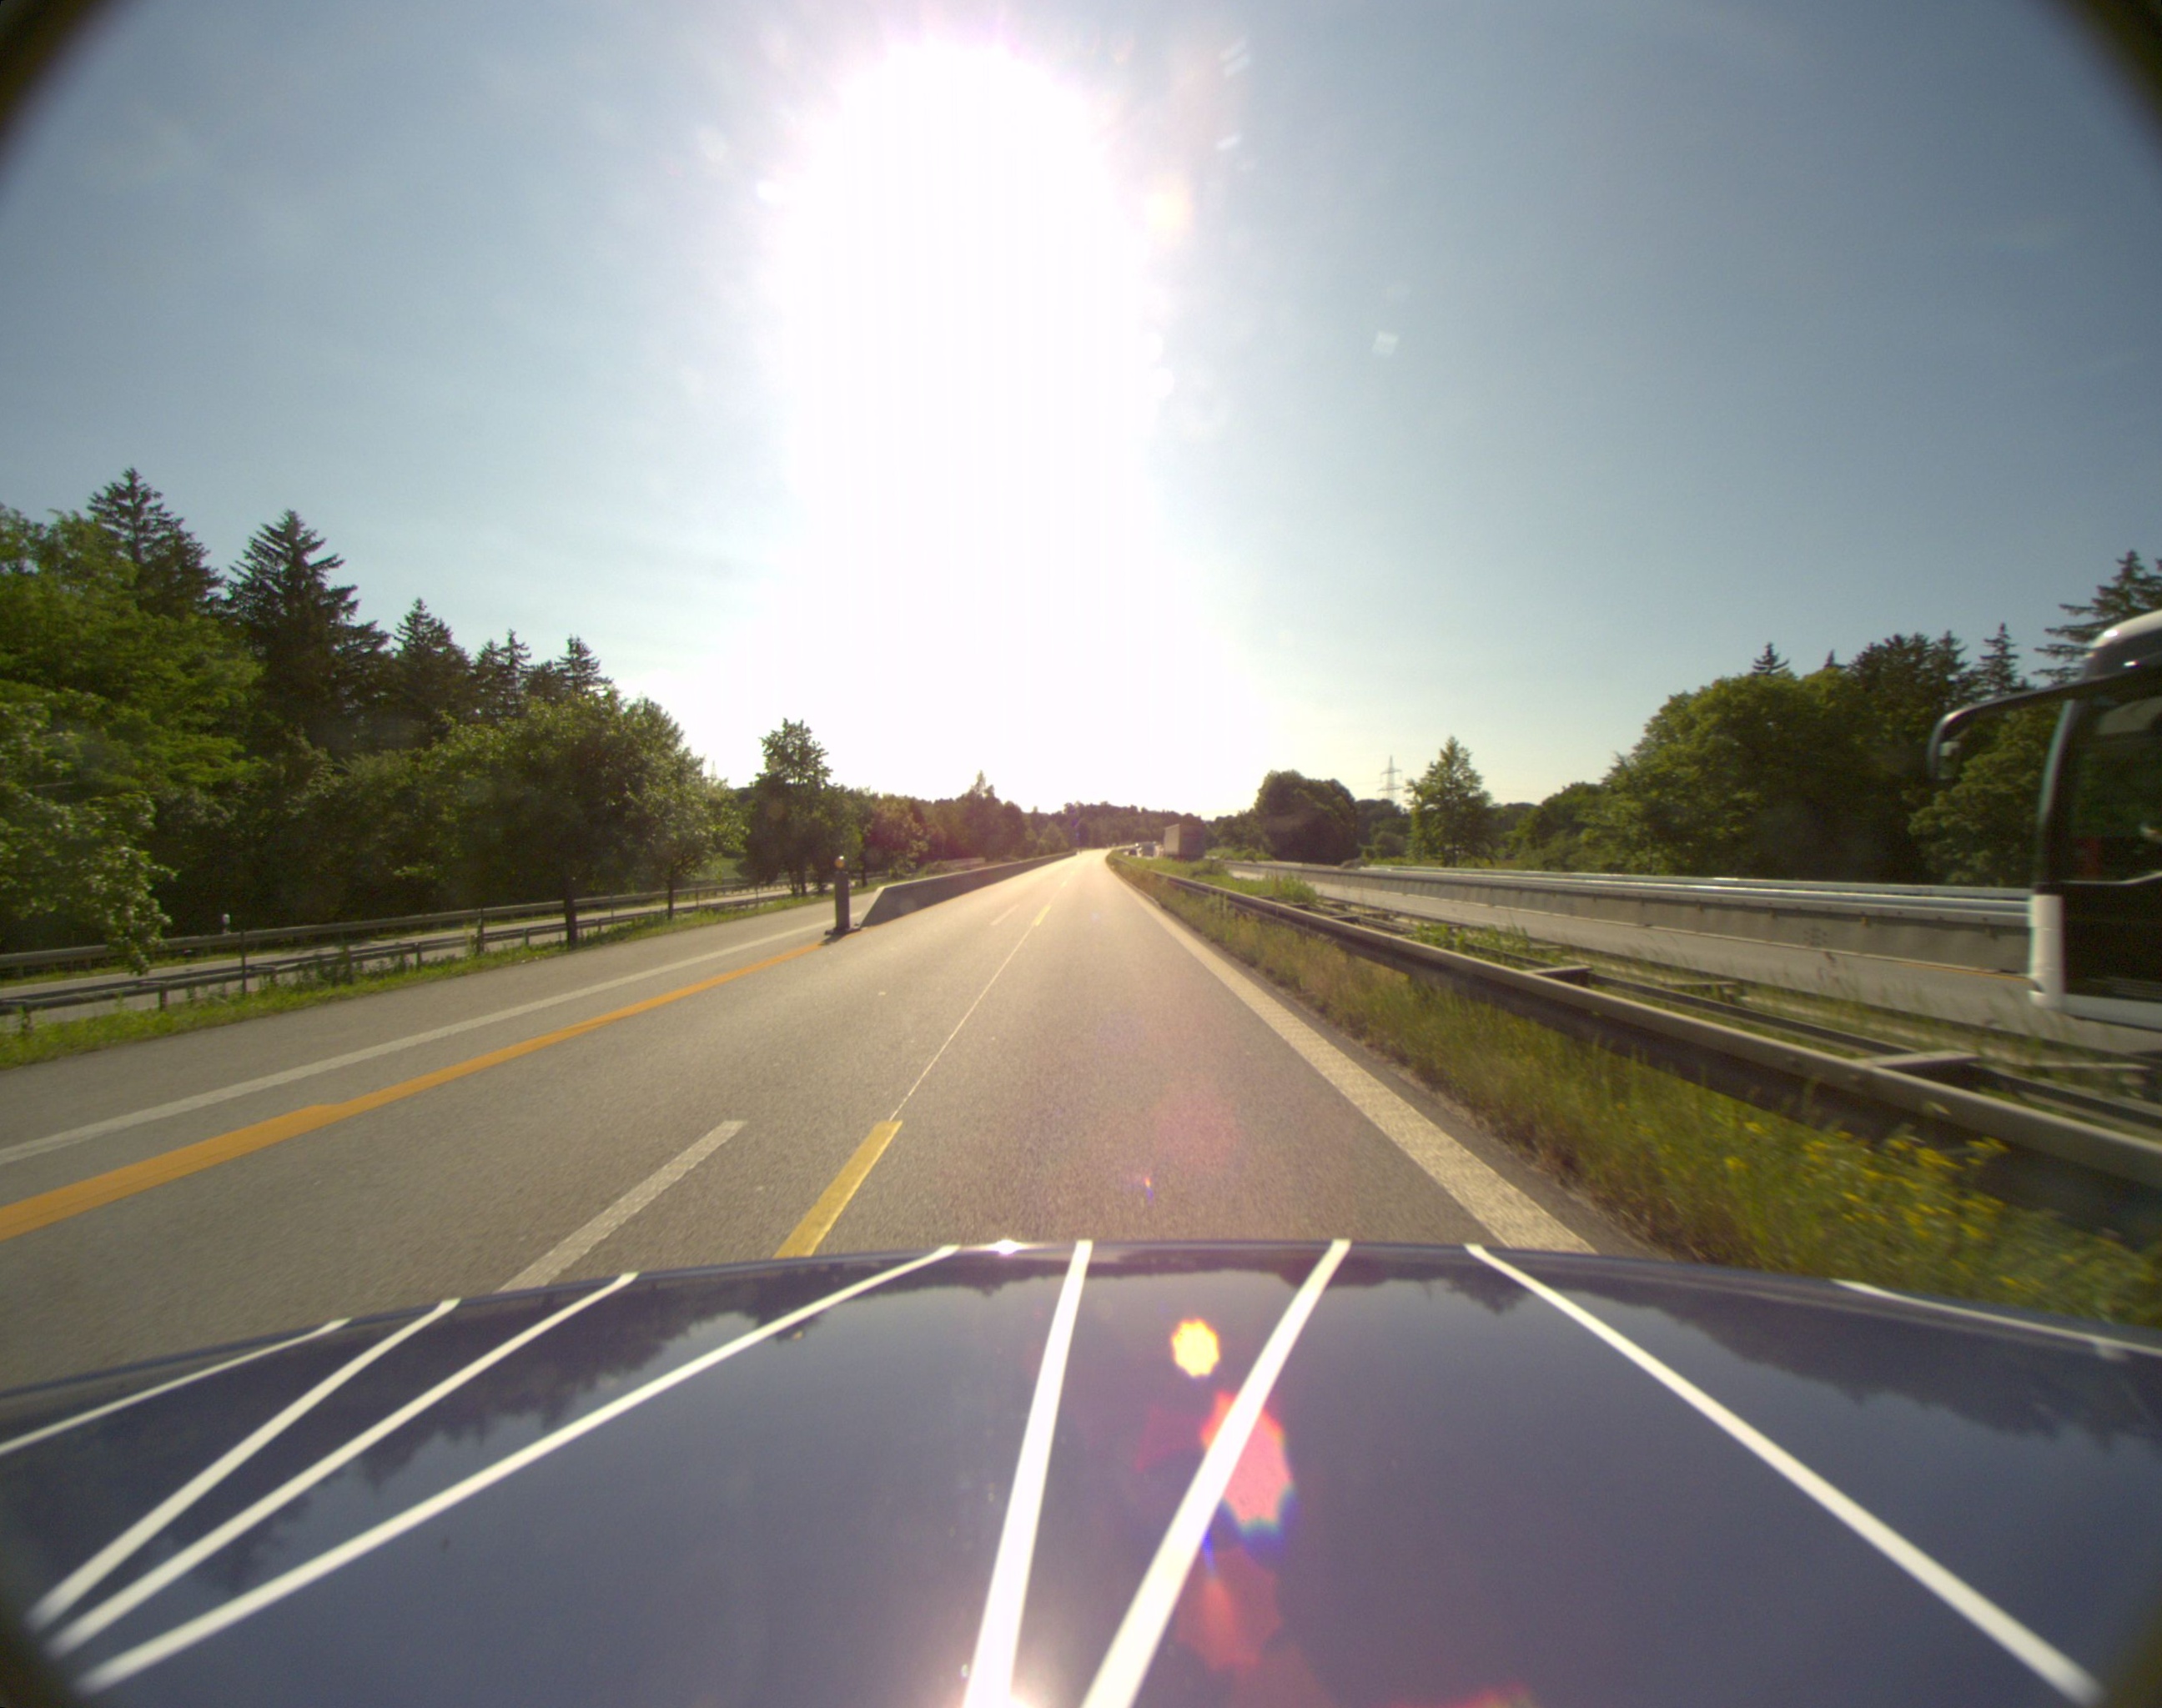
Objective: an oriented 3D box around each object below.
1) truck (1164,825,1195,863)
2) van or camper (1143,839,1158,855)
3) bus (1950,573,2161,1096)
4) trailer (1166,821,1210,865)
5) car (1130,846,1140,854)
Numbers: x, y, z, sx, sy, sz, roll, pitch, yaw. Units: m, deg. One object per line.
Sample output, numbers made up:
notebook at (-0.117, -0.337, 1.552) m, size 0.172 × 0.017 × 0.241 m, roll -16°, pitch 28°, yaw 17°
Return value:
truck at (10.903, -1.135, 84.778) m, size 2.777 × 4.064 × 5.475 m, roll 2°, pitch 1°, yaw 1°
van or camper at (13.283, -1.325, 145.340) m, size 2.411 × 2.933 × 7.522 m, roll 1°, pitch 1°, yaw 2°
bus at (8.994, -0.119, 0.138) m, size 2.889 × 3.649 × 12.916 m, roll -1°, pitch 0°, yaw 0°
trailer at (10.768, -1.073, 78.174) m, size 2.748 × 4.047 × 13.995 m, roll 2°, pitch 1°, yaw 1°
car at (10.607, -0.725, 150.179) m, size 1.746 × 1.521 × 4.000 m, roll 2°, pitch 1°, yaw 2°
